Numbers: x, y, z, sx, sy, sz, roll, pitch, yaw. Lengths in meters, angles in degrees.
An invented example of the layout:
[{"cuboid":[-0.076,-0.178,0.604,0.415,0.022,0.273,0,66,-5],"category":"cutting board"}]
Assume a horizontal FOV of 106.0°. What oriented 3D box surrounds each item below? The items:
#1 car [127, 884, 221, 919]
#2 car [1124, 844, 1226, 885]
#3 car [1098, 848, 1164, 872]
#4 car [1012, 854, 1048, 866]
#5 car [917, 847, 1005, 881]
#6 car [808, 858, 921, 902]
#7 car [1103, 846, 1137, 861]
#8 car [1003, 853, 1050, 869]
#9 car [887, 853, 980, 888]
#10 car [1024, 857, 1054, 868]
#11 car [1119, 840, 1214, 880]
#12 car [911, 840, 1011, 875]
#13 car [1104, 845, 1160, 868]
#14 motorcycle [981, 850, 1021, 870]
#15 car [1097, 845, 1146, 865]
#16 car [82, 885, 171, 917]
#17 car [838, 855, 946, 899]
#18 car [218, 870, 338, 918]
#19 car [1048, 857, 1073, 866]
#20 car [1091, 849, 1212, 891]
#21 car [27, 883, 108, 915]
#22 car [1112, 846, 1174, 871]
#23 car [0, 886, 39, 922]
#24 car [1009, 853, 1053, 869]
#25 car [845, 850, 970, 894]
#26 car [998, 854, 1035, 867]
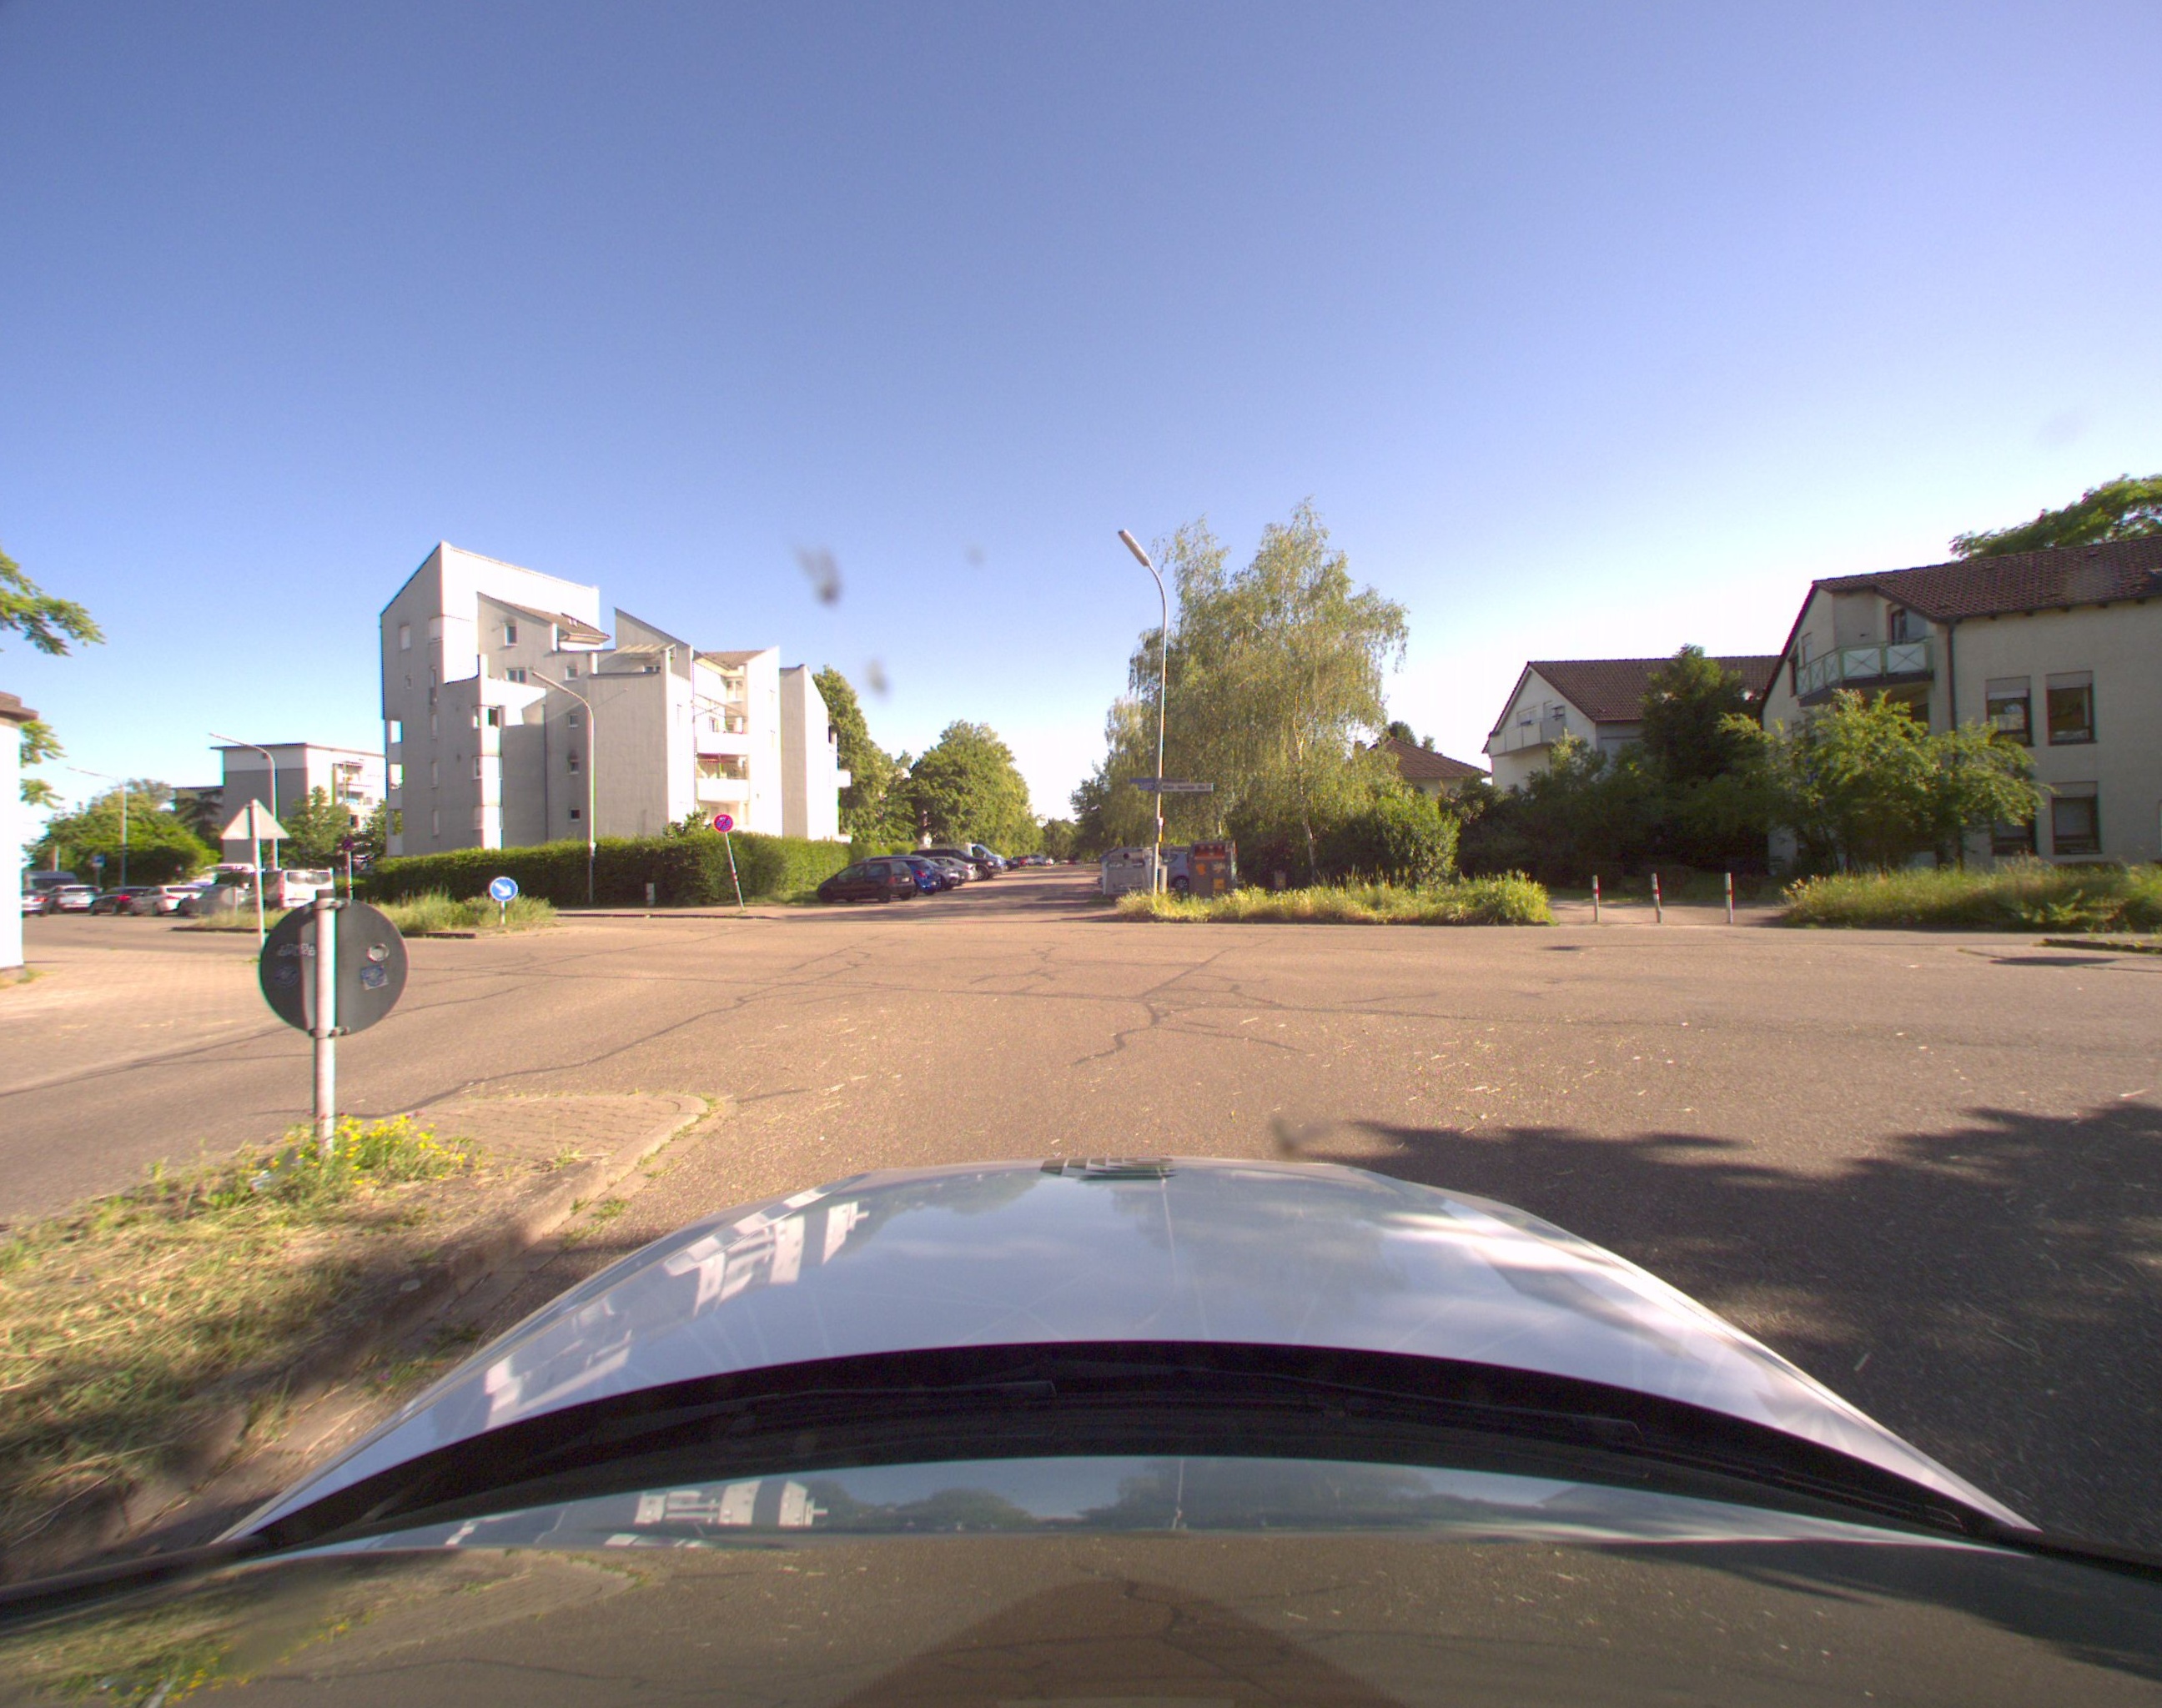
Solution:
[{"cuboid":[-43.517,2.277,39.071,4.320,1.488,1.927,-2,-1,26],"category":"car"},{"cuboid":[3.928,0.415,34.367,4.045,1.603,1.788,-1,1,-4],"category":"car"},{"cuboid":[3.081,0.376,50.275,3.968,1.401,1.800,-1,-1,4],"category":"car"},{"cuboid":[-5.865,0.668,93.430,3.926,1.334,1.847,-2,0,0],"category":"car"},{"cuboid":[-6.716,0.541,45.673,4.499,1.771,1.850,-2,0,6],"category":"car"},{"cuboid":[-7.715,0.933,29.131,3.494,1.466,1.712,-1,1,18],"category":"car"},{"cuboid":[4.606,-0.026,96.254,3.968,1.708,1.800,-1,-1,4],"category":"car"},{"cuboid":[-4.829,0.614,72.658,3.926,1.334,1.847,-2,0,0],"category":"car"},{"cuboid":[-7.119,0.782,39.591,4.131,1.455,1.619,-3,0,-1],"category":"car"},{"cuboid":[-5.818,1.200,113.514,3.926,1.334,1.847,-2,0,0],"category":"car"},{"cuboid":[3.891,0.260,37.433,4.097,1.706,1.788,-1,1,-5],"category":"car"},{"cuboid":[-7.930,0.234,54.475,6.237,2.147,2.410,-2,0,-1],"category":"car"},{"cuboid":[3.725,0.210,59.103,3.968,1.585,1.800,-1,-1,4],"category":"car"},{"cuboid":[-6.579,0.504,67.000,3.178,1.596,0.924,-2,0,2],"category":"motorcycle"},{"cuboid":[3.368,0.055,67.703,3.968,1.585,1.800,-1,-1,4],"category":"car"},{"cuboid":[-48.734,2.401,41.570,4.320,1.488,1.927,-2,-1,26],"category":"car"},{"cuboid":[-7.342,0.878,31.677,3.653,1.496,1.658,-2,0,14],"category":"car"},{"cuboid":[-34.256,1.710,34.726,4.892,1.912,2.011,-2,-1,25],"category":"car"},{"cuboid":[-3.123,1.082,122.478,3.632,1.212,1.847,-2,0,0],"category":"car"},{"cuboid":[2.531,0.564,28.909,4.023,1.439,1.641,0,0,14],"category":"car"},{"cuboid":[-56.891,2.539,45.719,4.320,1.666,1.927,-2,-1,26],"category":"car"},{"cuboid":[4.076,0.290,53.448,3.968,1.585,1.800,-1,-1,4],"category":"car"},{"cuboid":[-52.709,2.446,39.523,4.024,1.643,1.895,-2,-1,27],"category":"car"},{"cuboid":[-4.656,0.622,75.895,3.926,1.334,1.847,-2,0,0],"category":"car"},{"cuboid":[-7.544,0.764,35.634,4.965,1.654,1.788,-2,0,7],"category":"car"},{"cuboid":[-7.106,0.746,90.214,3.926,1.334,1.847,-2,0,0],"category":"car"}]
